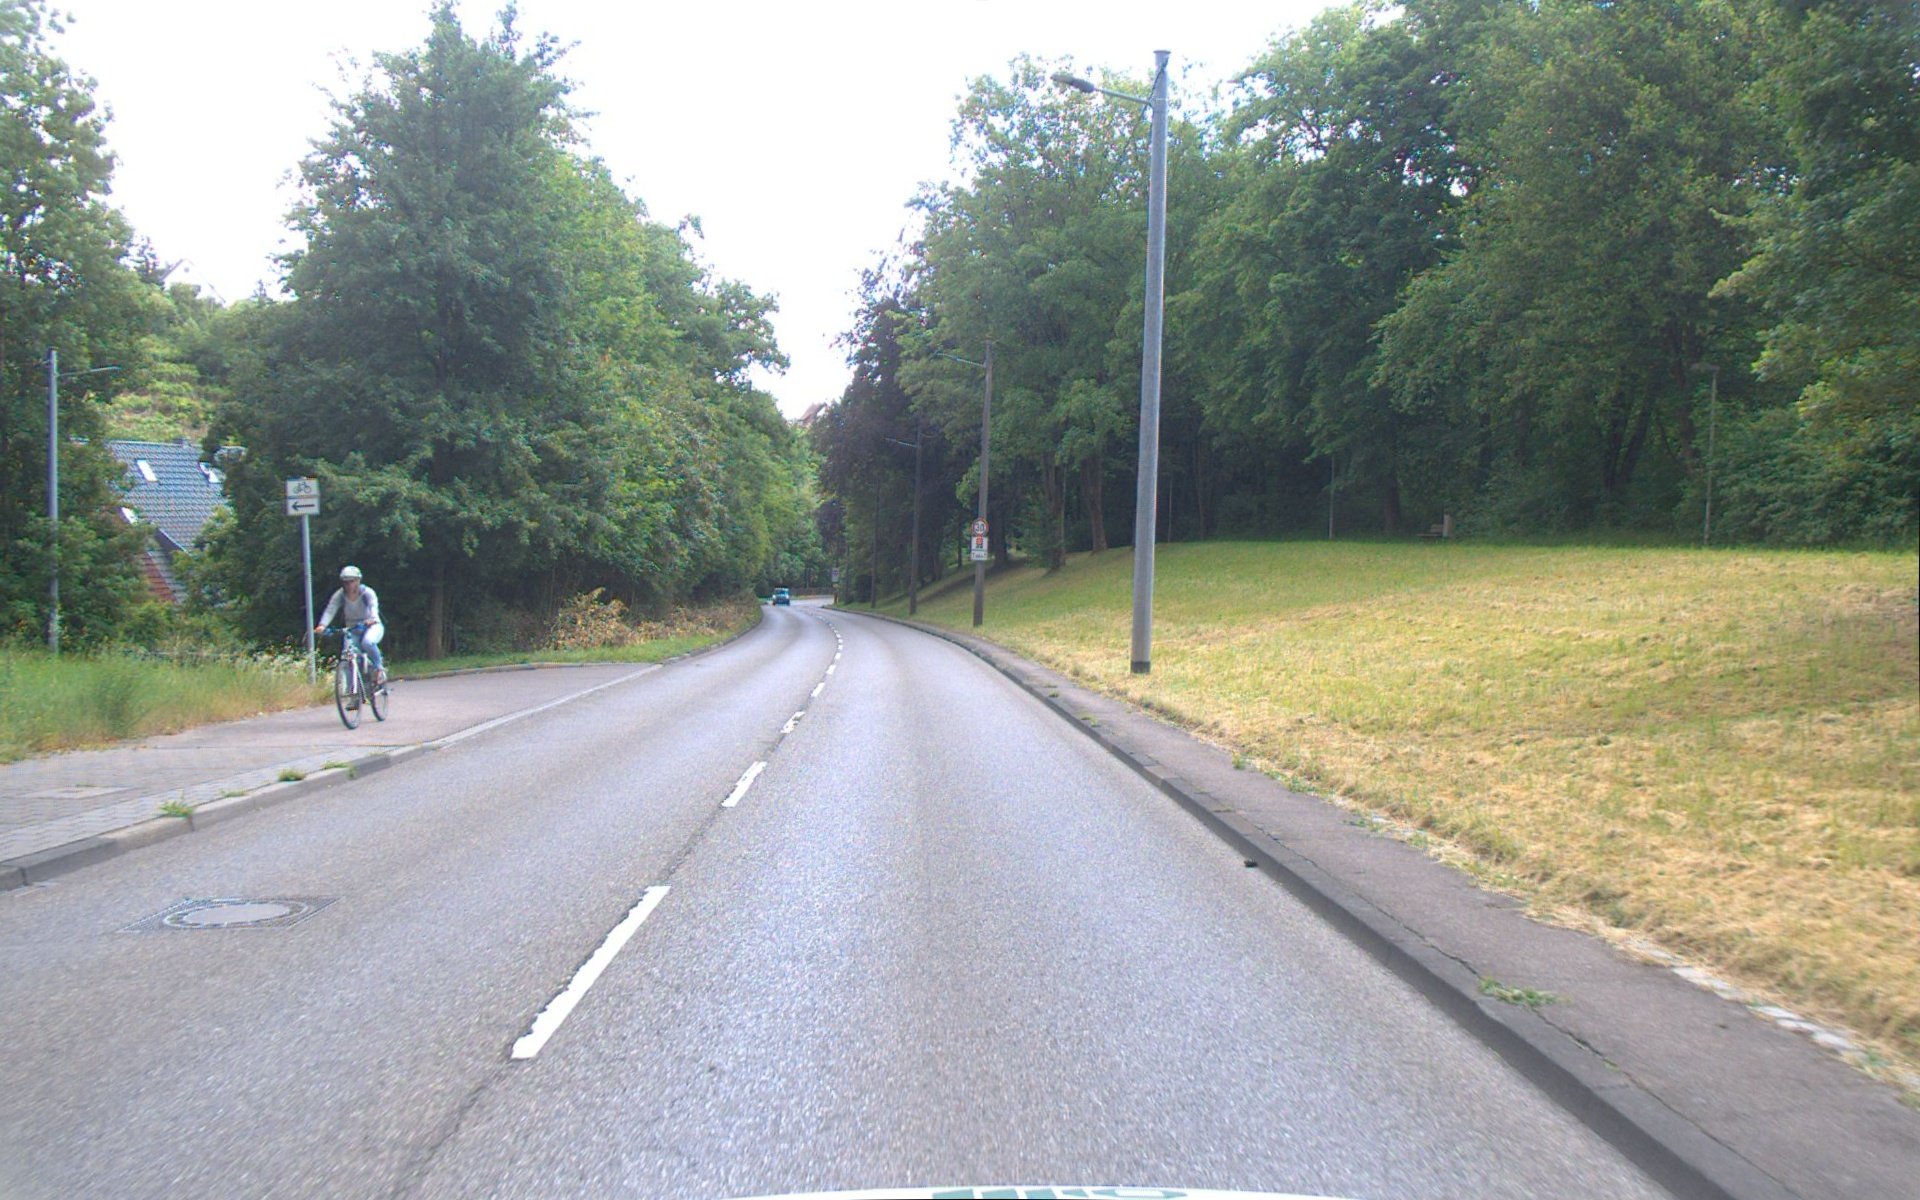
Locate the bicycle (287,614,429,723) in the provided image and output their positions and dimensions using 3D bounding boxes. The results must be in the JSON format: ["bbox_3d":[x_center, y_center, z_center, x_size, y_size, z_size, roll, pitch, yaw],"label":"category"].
[{"bbox_3d":[-6.490,0.705,17.987,0.813,1.054,2.440,3,-1,-5],"label":"bicycle"}]

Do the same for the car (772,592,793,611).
[{"bbox_3d":[-19.842,0.155,185.377,1.953,2.049,3.999,2,-1,-1],"label":"car"}]

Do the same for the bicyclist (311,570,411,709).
[{"bbox_3d":[-6.490,0.424,17.967,0.810,1.452,0.780,1,-1,-6],"label":"bicyclist"}]
